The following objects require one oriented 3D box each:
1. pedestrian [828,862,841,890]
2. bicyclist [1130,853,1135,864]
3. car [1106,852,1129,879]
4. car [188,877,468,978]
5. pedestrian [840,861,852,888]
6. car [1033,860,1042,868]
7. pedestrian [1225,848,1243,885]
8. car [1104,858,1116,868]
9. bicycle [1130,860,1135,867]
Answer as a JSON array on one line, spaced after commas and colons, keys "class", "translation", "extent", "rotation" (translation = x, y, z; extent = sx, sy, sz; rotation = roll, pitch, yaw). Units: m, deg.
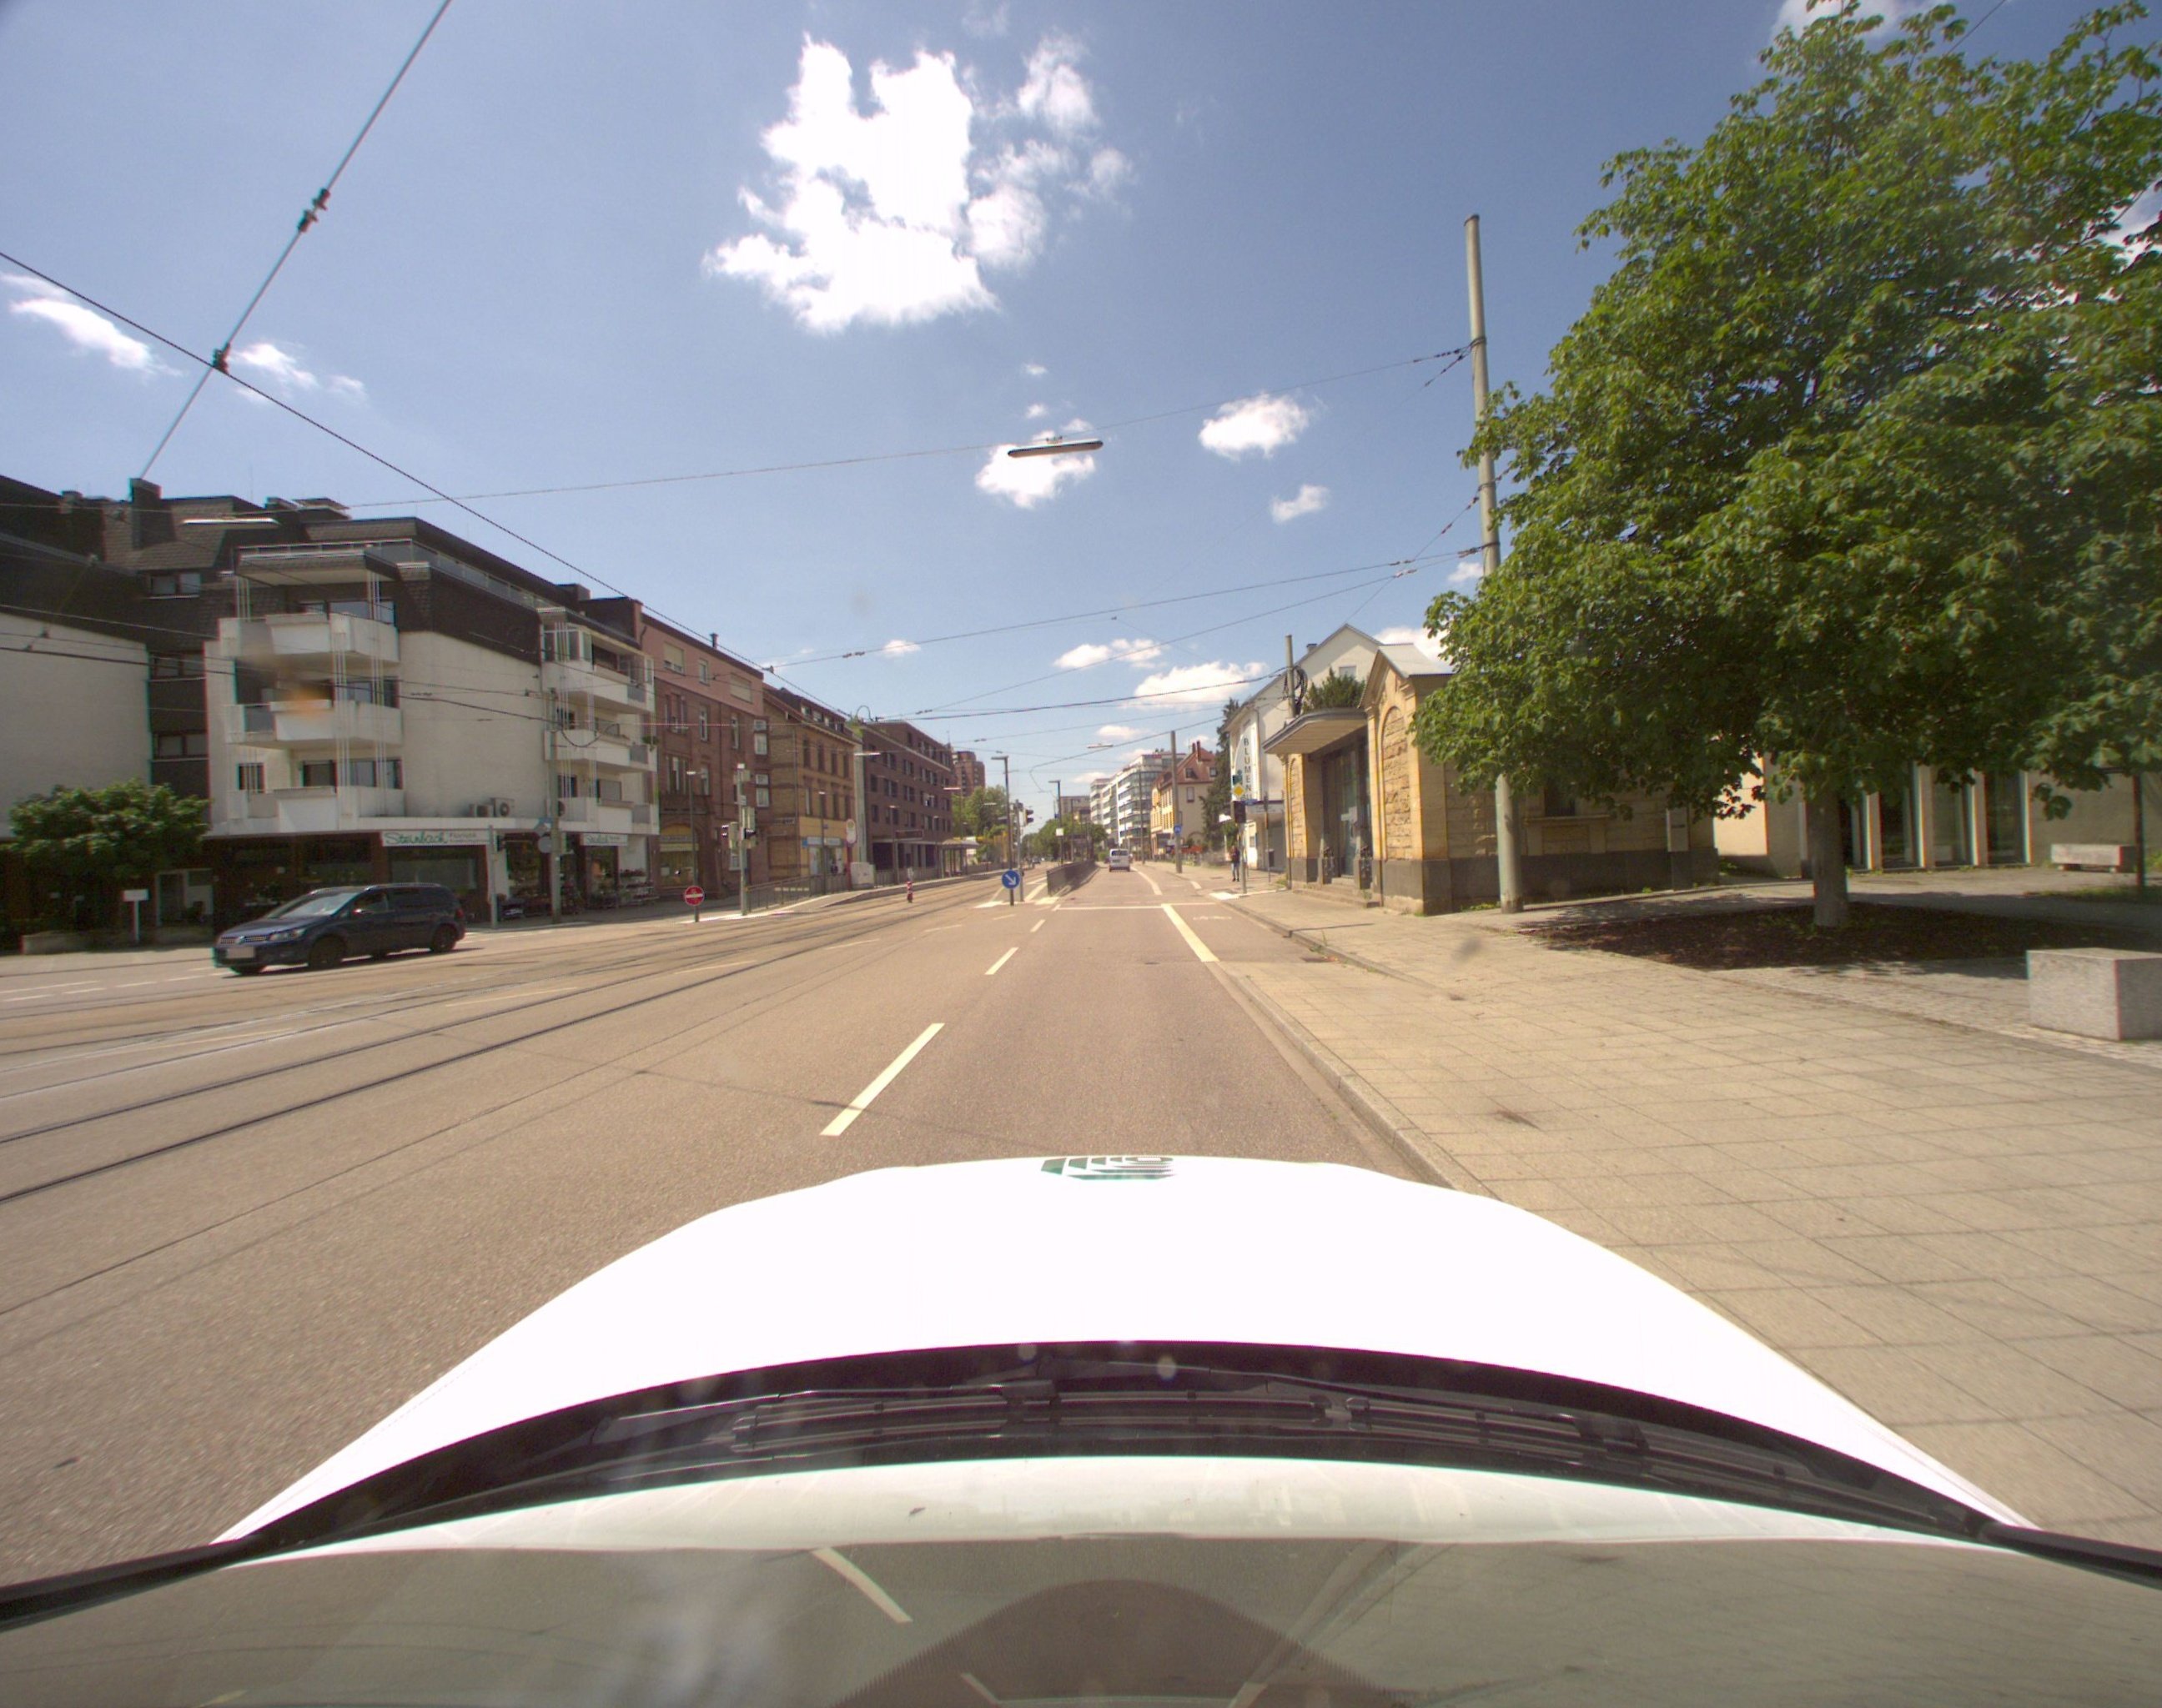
[{"class": "pedestrian", "translation": [-18.451, 1.621, 60.906], "extent": [0.615, 2.013, 0.810], "rotation": [-3, -1, 0]}, {"class": "bicyclist", "translation": [6.775, 0.619, 106.629], "extent": [0.590, 1.397, 0.841], "rotation": [-2, 0, -2]}, {"class": "car", "translation": [2.949, 0.896, 66.697], "extent": [1.746, 2.013, 4.001], "rotation": [-3, 0, 1]}, {"class": "car", "translation": [-15.465, 1.419, 17.117], "extent": [1.717, 1.683, 4.281], "rotation": [-3, -1, 2]}, {"class": "pedestrian", "translation": [-17.609, 1.543, 61.067], "extent": [0.674, 2.014, 0.685], "rotation": [-1, -1, 0]}, {"class": "car", "translation": [-10.090, 2.359, 188.870], "extent": [1.696, 1.616, 3.750], "rotation": [-5, -2, -5]}, {"class": "pedestrian", "translation": [6.656, 0.531, 35.380], "extent": [0.574, 1.556, 0.787], "rotation": [-4, -1, 5]}, {"class": "car", "translation": [5.458, 1.660, 155.068], "extent": [1.859, 1.687, 4.995], "rotation": [-3, 0, -3]}, {"class": "bicycle", "translation": [6.770, 1.237, 106.637], "extent": [0.464, 0.887, 2.046], "rotation": [-2, 0, -2]}]
